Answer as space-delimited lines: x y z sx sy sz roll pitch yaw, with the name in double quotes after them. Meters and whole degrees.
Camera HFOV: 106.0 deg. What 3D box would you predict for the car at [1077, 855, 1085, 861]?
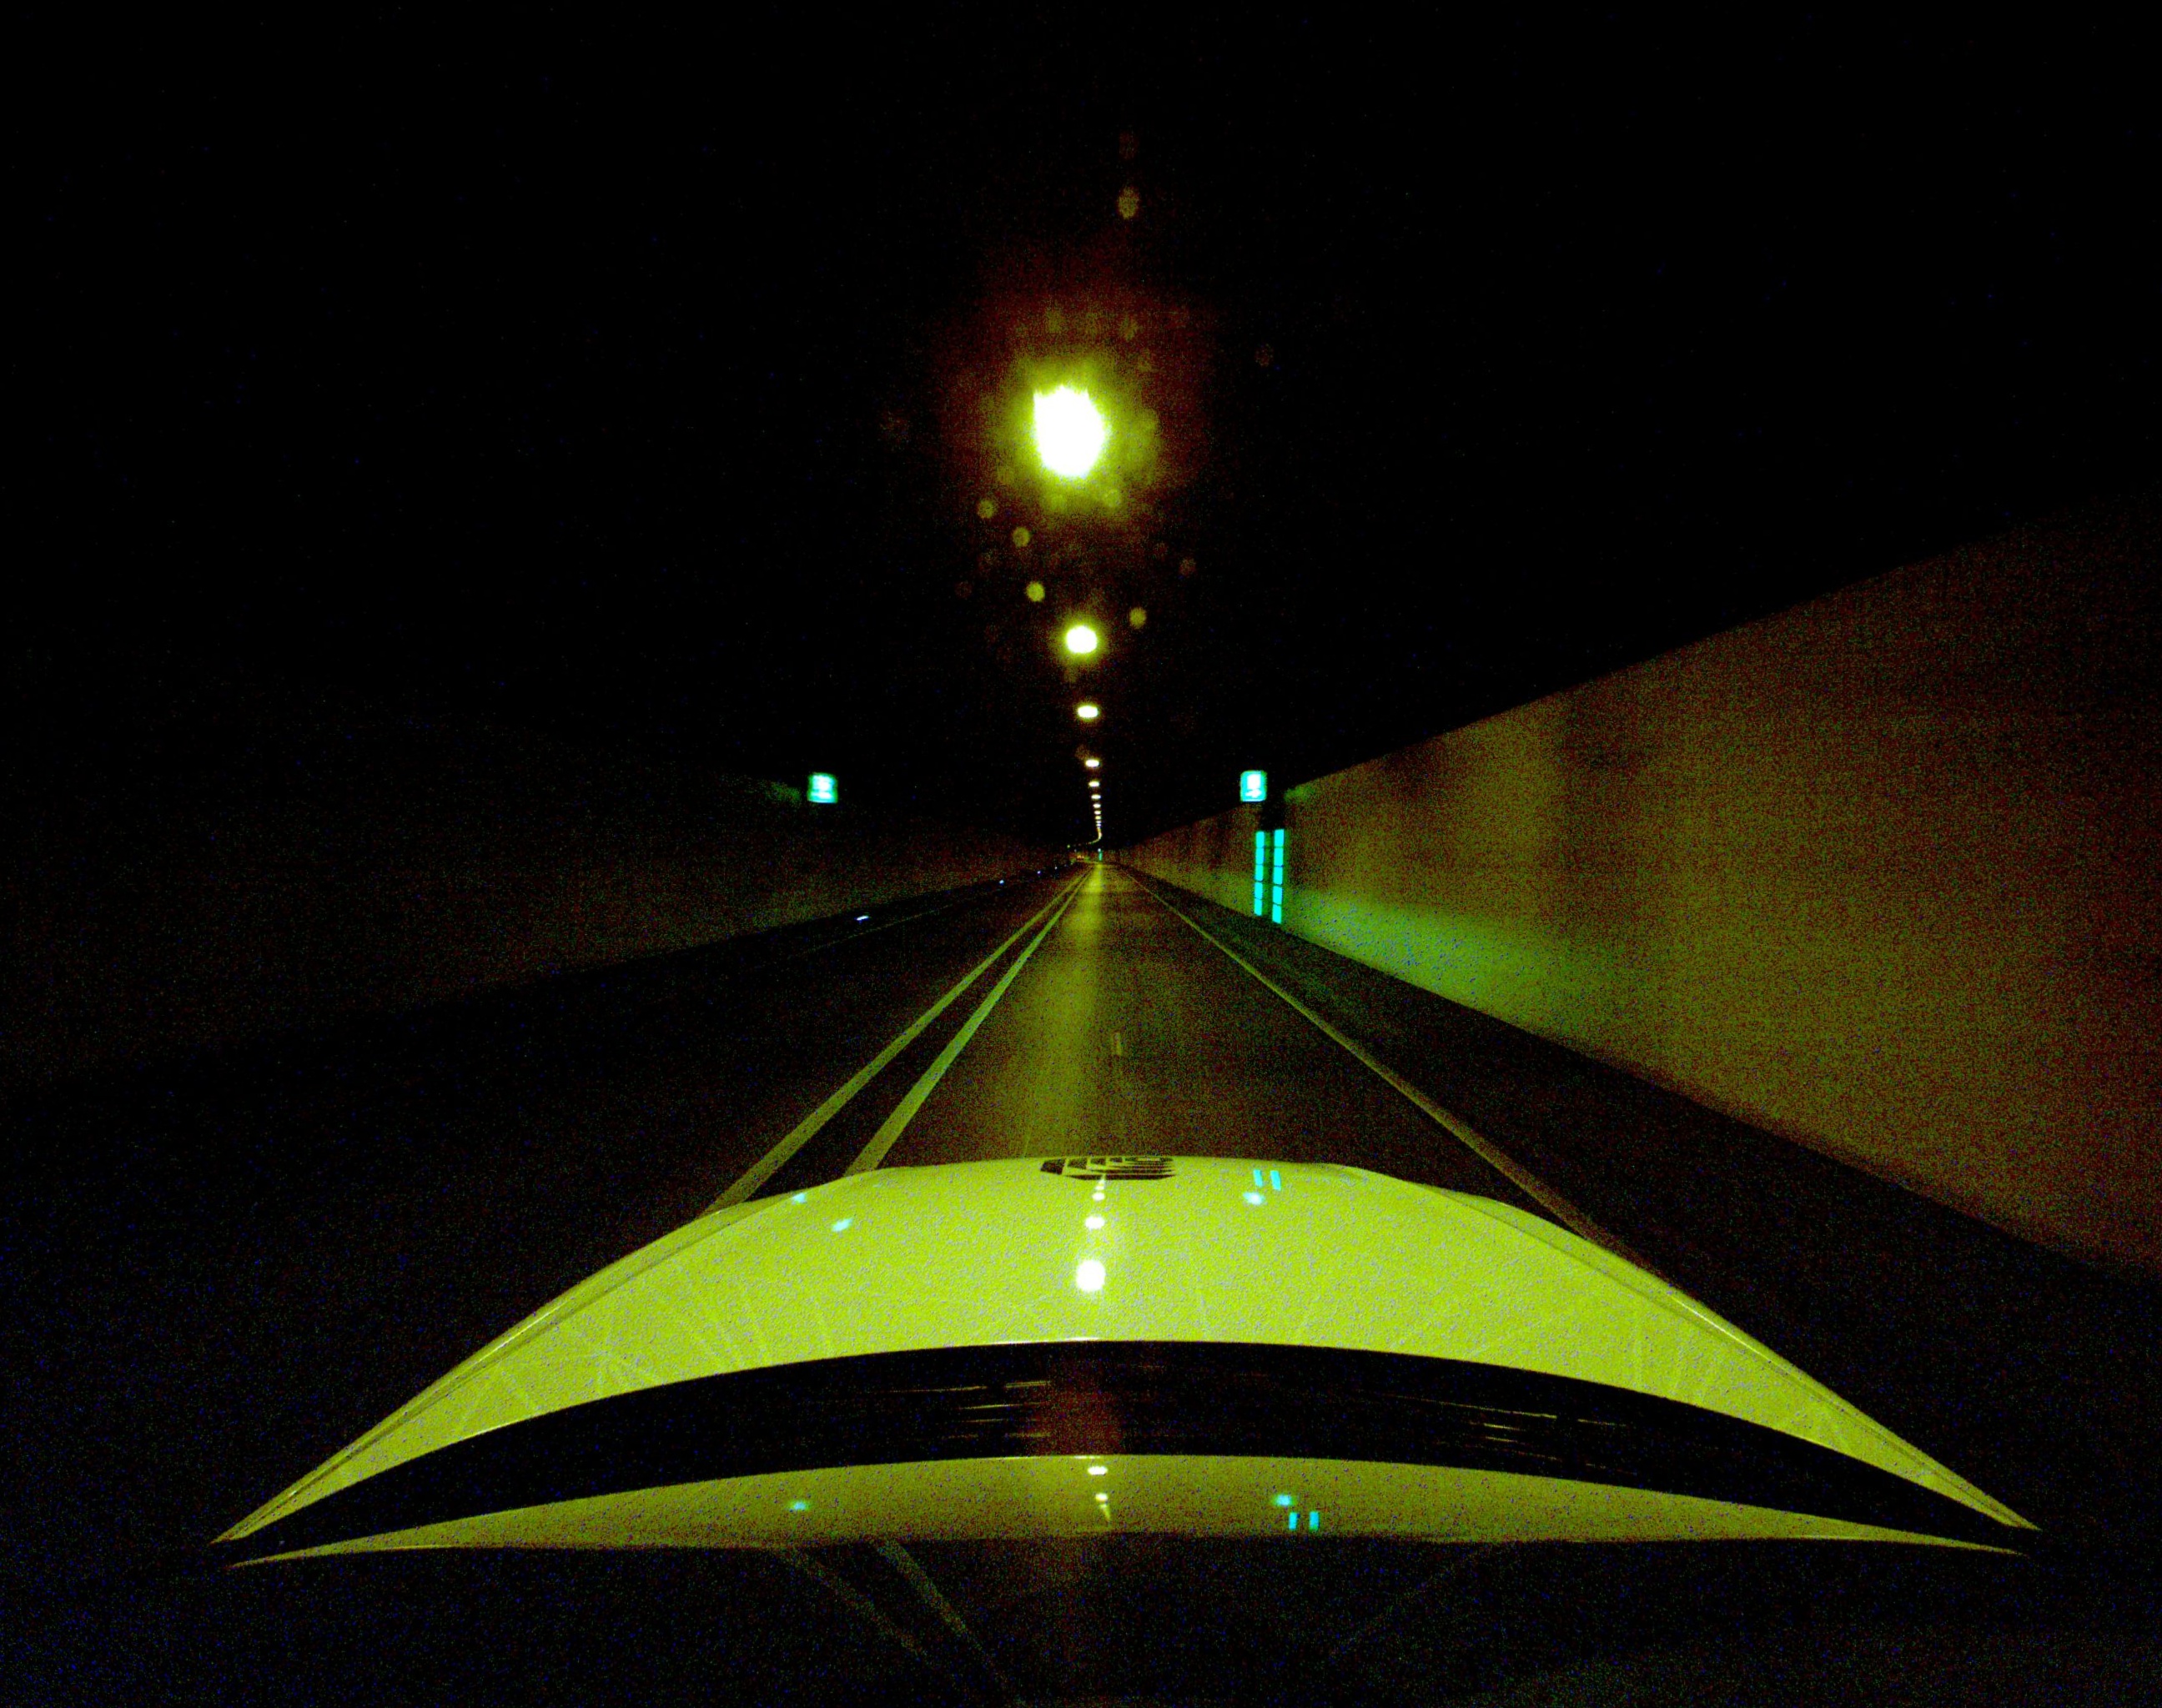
0.032 1.251 246.081 1.962 1.939 4.607 1 -1 -3 "car"
